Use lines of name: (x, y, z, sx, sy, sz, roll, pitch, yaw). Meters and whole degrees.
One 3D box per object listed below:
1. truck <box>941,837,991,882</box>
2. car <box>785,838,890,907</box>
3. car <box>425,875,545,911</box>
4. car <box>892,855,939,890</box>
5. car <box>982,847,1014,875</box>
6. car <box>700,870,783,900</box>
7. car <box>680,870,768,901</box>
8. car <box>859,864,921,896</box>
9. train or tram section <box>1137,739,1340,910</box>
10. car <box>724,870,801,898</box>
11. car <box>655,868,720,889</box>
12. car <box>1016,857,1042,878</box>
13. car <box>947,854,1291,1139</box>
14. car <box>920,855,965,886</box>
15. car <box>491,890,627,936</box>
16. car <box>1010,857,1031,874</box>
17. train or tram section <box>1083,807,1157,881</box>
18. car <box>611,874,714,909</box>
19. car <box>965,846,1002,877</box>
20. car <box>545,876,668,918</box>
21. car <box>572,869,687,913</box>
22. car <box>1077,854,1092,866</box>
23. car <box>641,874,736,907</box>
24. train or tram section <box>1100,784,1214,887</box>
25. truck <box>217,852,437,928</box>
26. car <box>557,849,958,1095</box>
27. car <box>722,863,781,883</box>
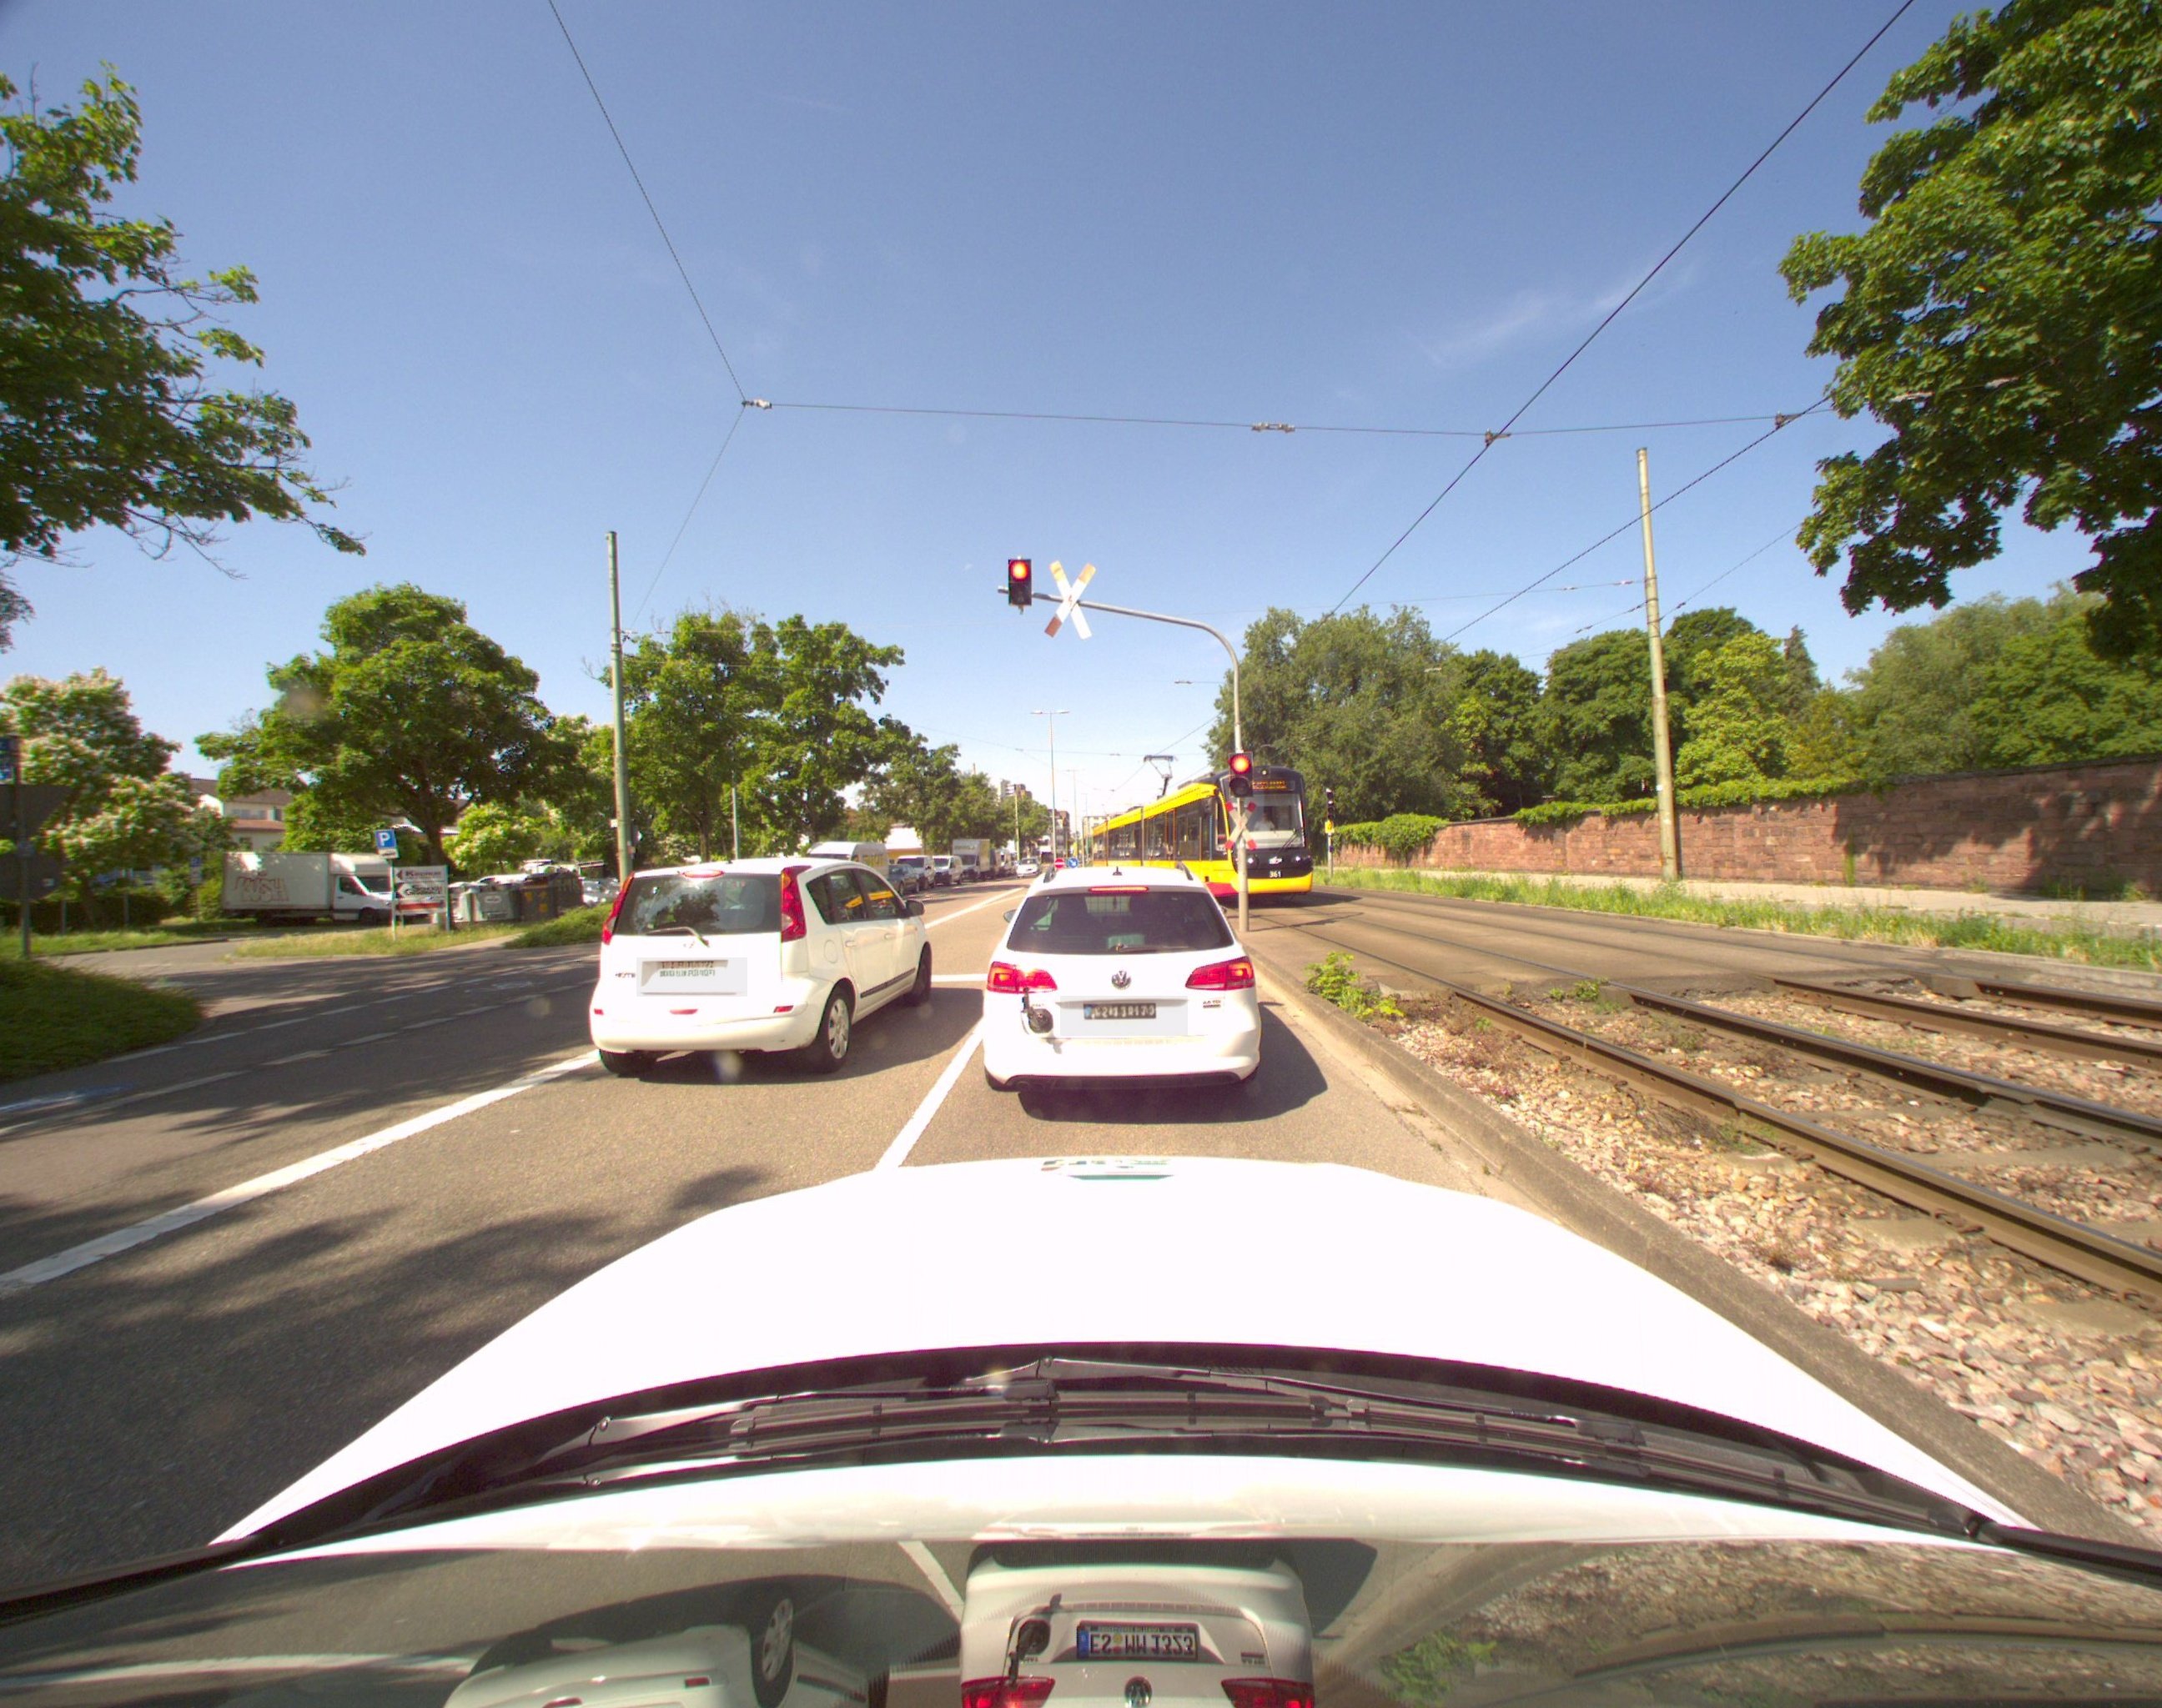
truck: (-8.440, 0.405, 60.693, 2.411, 3.150, 7.001, 0, 0, 2)
car: (-9.586, 0.681, 32.676, 2.114, 2.516, 5.822, 0, 0, 3)
car: (-31.776, 2.041, 43.547, 4.780, 1.787, 2.062, 0, -1, -3)
car: (-9.201, 0.984, 45.690, 1.859, 1.868, 5.068, 0, 0, -4)
car: (-7.717, 0.668, 76.121, 2.114, 2.516, 5.737, 0, 0, 2)
car: (-19.554, 1.756, 47.068, 3.977, 1.415, 1.729, -4, -1, -3)
car: (-19.546, 1.715, 44.731, 3.977, 1.415, 1.729, -4, -1, -3)
car: (-9.075, 1.216, 39.106, 1.856, 1.415, 4.281, 0, 0, 1)
train or tram section: (4.077, -0.681, 25.020, 2.865, 3.855, 12.372, -3, 0, -4)
car: (-19.470, 1.814, 49.881, 3.977, 1.415, 1.729, -4, -1, -3)
car: (-35.208, 2.186, 72.972, 4.780, 1.787, 2.062, 0, -1, -3)
car: (-4.142, 1.045, 65.301, 1.670, 1.553, 3.580, -4, 0, 1)
car: (0.262, 0.753, 6.314, 1.756, 1.430, 4.002, -3, 0, 2)
car: (-8.816, 1.004, 52.270, 1.856, 1.868, 5.415, 0, 0, 1)
car: (-19.904, 2.228, 31.168, 3.977, 1.415, 1.729, -4, -1, -3)
car: (-6.787, 1.259, 92.030, 1.856, 1.868, 5.415, 0, 0, 1)
train or tram section: (2.086, -0.529, 48.790, 2.866, 3.855, 10.518, -3, 0, -5)
car: (-20.302, 1.798, 39.604, 3.977, 1.415, 1.729, -4, -1, -3)
car: (-8.157, 0.608, 68.691, 2.114, 2.516, 5.737, 0, 0, 2)
car: (-19.673, 1.763, 33.861, 3.977, 1.415, 1.729, -4, -1, -3)
car: (-19.923, 1.622, 36.068, 3.977, 1.610, 1.729, -4, -1, -3)
car: (0.519, 0.823, 112.612, 1.698, 1.473, 4.593, -3, 0, 3)
car: (-20.284, 1.861, 42.216, 3.977, 1.415, 1.729, -4, -1, -3)
train or tram section: (3.078, -0.689, 37.375, 2.866, 3.855, 12.368, -3, 0, -5)
truck: (-32.430, 1.497, 35.206, 6.979, 3.110, 2.677, 0, 0, 0)
car: (-2.433, 0.758, 7.510, 1.655, 1.547, 4.550, -1, 0, 3)
car: (-31.484, 1.809, 77.951, 4.780, 1.787, 2.062, 0, -1, -3)
